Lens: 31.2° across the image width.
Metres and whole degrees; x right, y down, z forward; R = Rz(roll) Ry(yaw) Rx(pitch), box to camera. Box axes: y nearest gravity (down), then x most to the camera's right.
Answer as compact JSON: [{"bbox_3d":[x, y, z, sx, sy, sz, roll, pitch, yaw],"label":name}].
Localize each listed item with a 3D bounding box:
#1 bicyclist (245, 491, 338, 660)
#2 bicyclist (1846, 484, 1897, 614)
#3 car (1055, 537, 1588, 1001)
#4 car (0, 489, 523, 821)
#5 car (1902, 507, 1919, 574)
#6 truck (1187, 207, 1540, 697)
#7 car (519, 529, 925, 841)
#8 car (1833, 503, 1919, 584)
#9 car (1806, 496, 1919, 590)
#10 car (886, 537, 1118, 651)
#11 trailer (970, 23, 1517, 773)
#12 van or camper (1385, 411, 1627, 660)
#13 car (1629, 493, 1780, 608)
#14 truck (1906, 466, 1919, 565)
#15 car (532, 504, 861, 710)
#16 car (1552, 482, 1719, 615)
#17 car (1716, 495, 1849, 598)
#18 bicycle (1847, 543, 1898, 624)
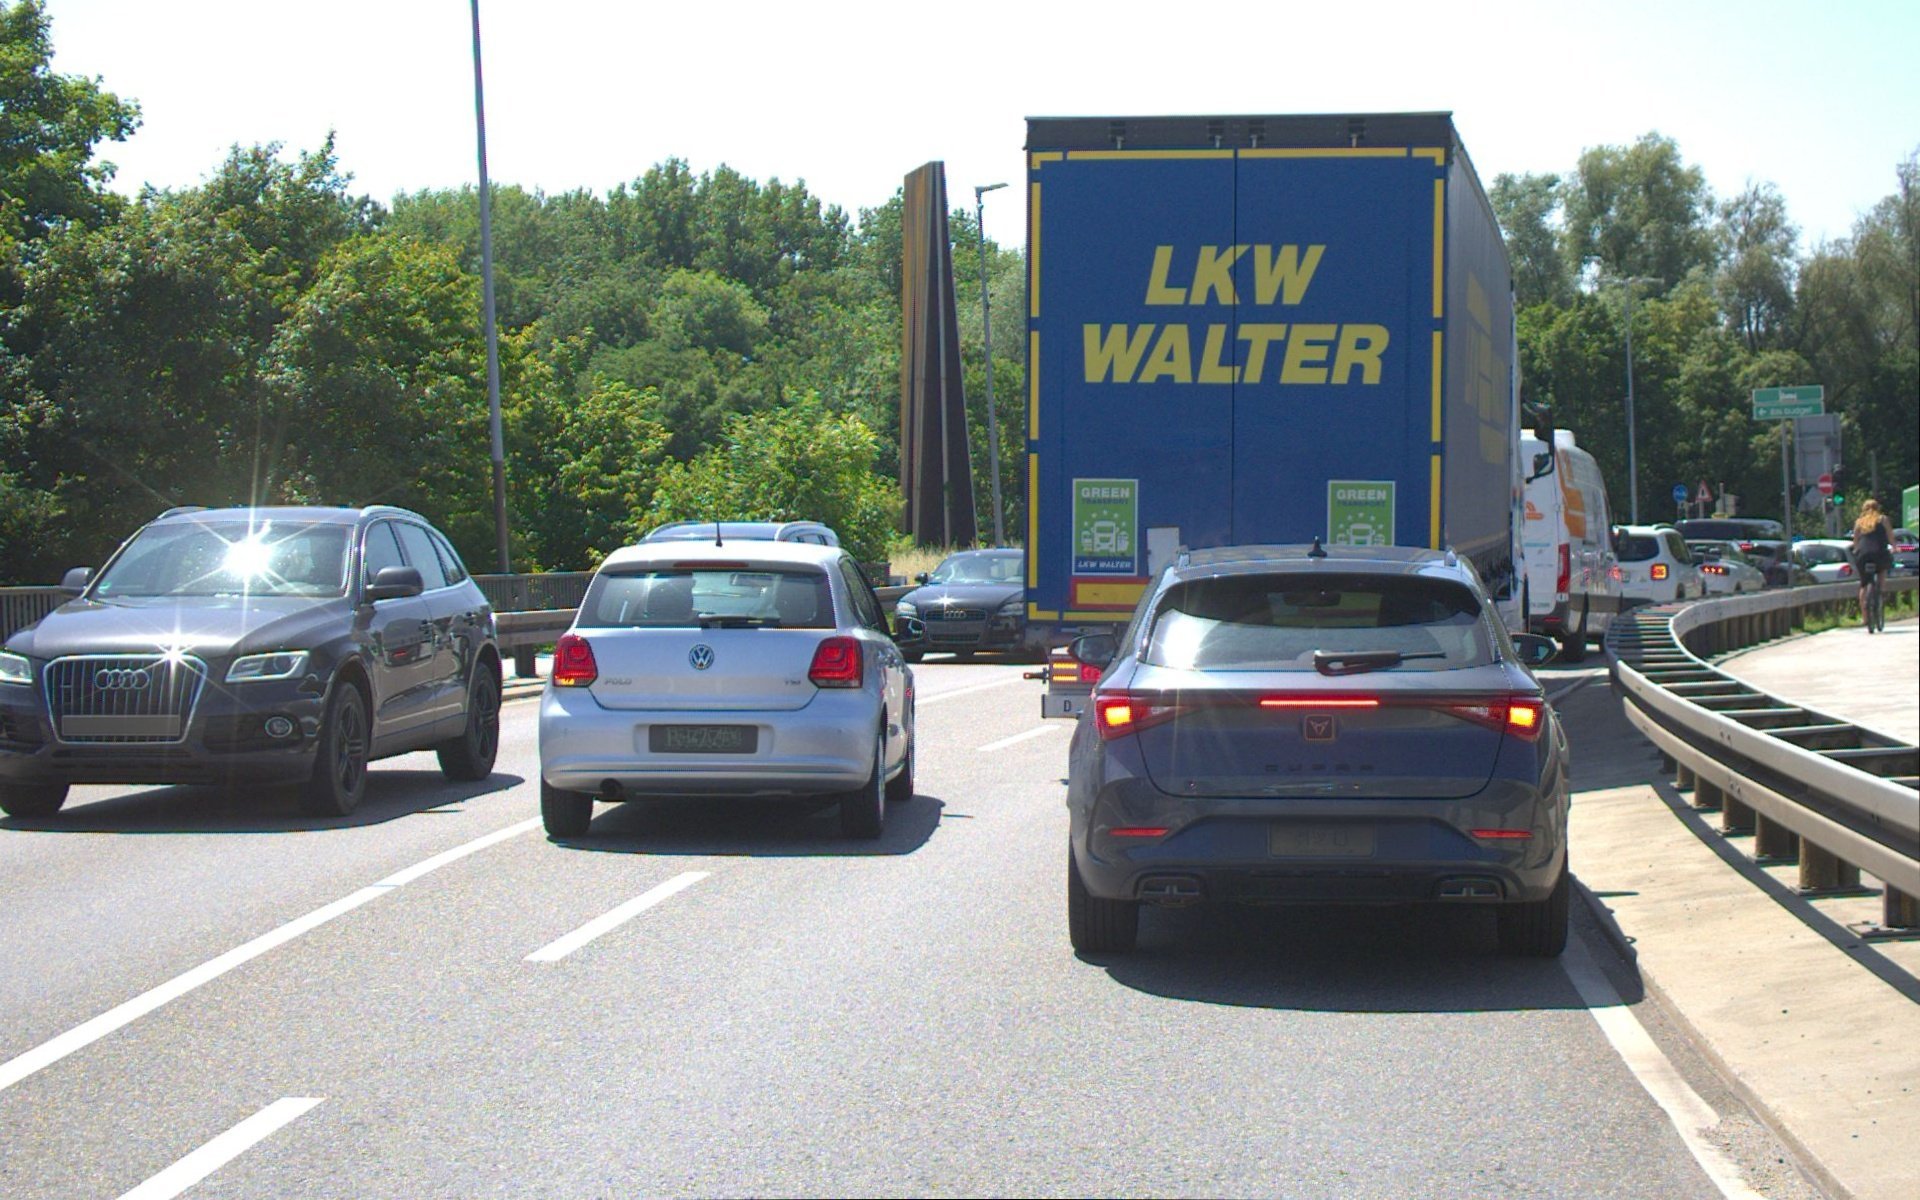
[{"bbox_3d":[-6.099,-0.228,31.395,0.583,1.516,0.896,0,1,6],"label":"bicyclist"},{"bbox_3d":[12.067,-0.678,45.522,0.578,1.677,0.729,-2,1,14],"label":"bicyclist"},{"bbox_3d":[1.273,0.495,12.875,1.677,1.451,3.958,0,1,4],"label":"car"},{"bbox_3d":[-3.906,0.225,19.175,1.801,1.635,4.299,0,1,9],"label":"car"},{"bbox_3d":[24.122,-1.351,82.283,1.997,1.570,3.993,2,0,31],"label":"car"},{"bbox_3d":[4.194,-1.424,34.463,2.906,4.403,6.552,1,1,12],"label":"truck"},{"bbox_3d":[-1.130,0.352,17.971,1.677,1.406,3.975,1,2,2],"label":"car"},{"bbox_3d":[20.657,-1.238,76.097,1.688,1.754,3.994,1,1,28],"label":"car"},{"bbox_3d":[18.272,-1.167,69.314,1.723,1.837,3.995,1,2,23],"label":"car"},{"bbox_3d":[0.569,-0.107,41.616,1.680,1.304,3.969,0,1,18],"label":"car"},{"bbox_3d":[2.651,-1.347,26.580,2.906,4.403,12.428,1,1,11],"label":"trailer"},{"bbox_3d":[6.799,-0.813,42.224,2.156,2.806,6.382,1,1,16],"label":"van or camper"},{"bbox_3d":[12.139,-0.826,55.905,1.723,1.796,3.996,1,2,22],"label":"car"},{"bbox_3d":[29.480,-2.508,101.944,2.336,2.864,5.938,0,1,11],"label":"truck"},{"bbox_3d":[-2.165,0.007,29.470,1.707,1.620,4.251,1,1,11],"label":"car"},{"bbox_3d":[9.803,-0.782,49.734,1.722,1.837,3.996,1,2,21],"label":"car"},{"bbox_3d":[15.185,-1.004,63.351,1.723,1.837,3.995,1,2,23],"label":"car"},{"bbox_3d":[12.095,-0.227,45.577,0.582,1.032,1.484,-3,1,14],"label":"bicycle"}]
